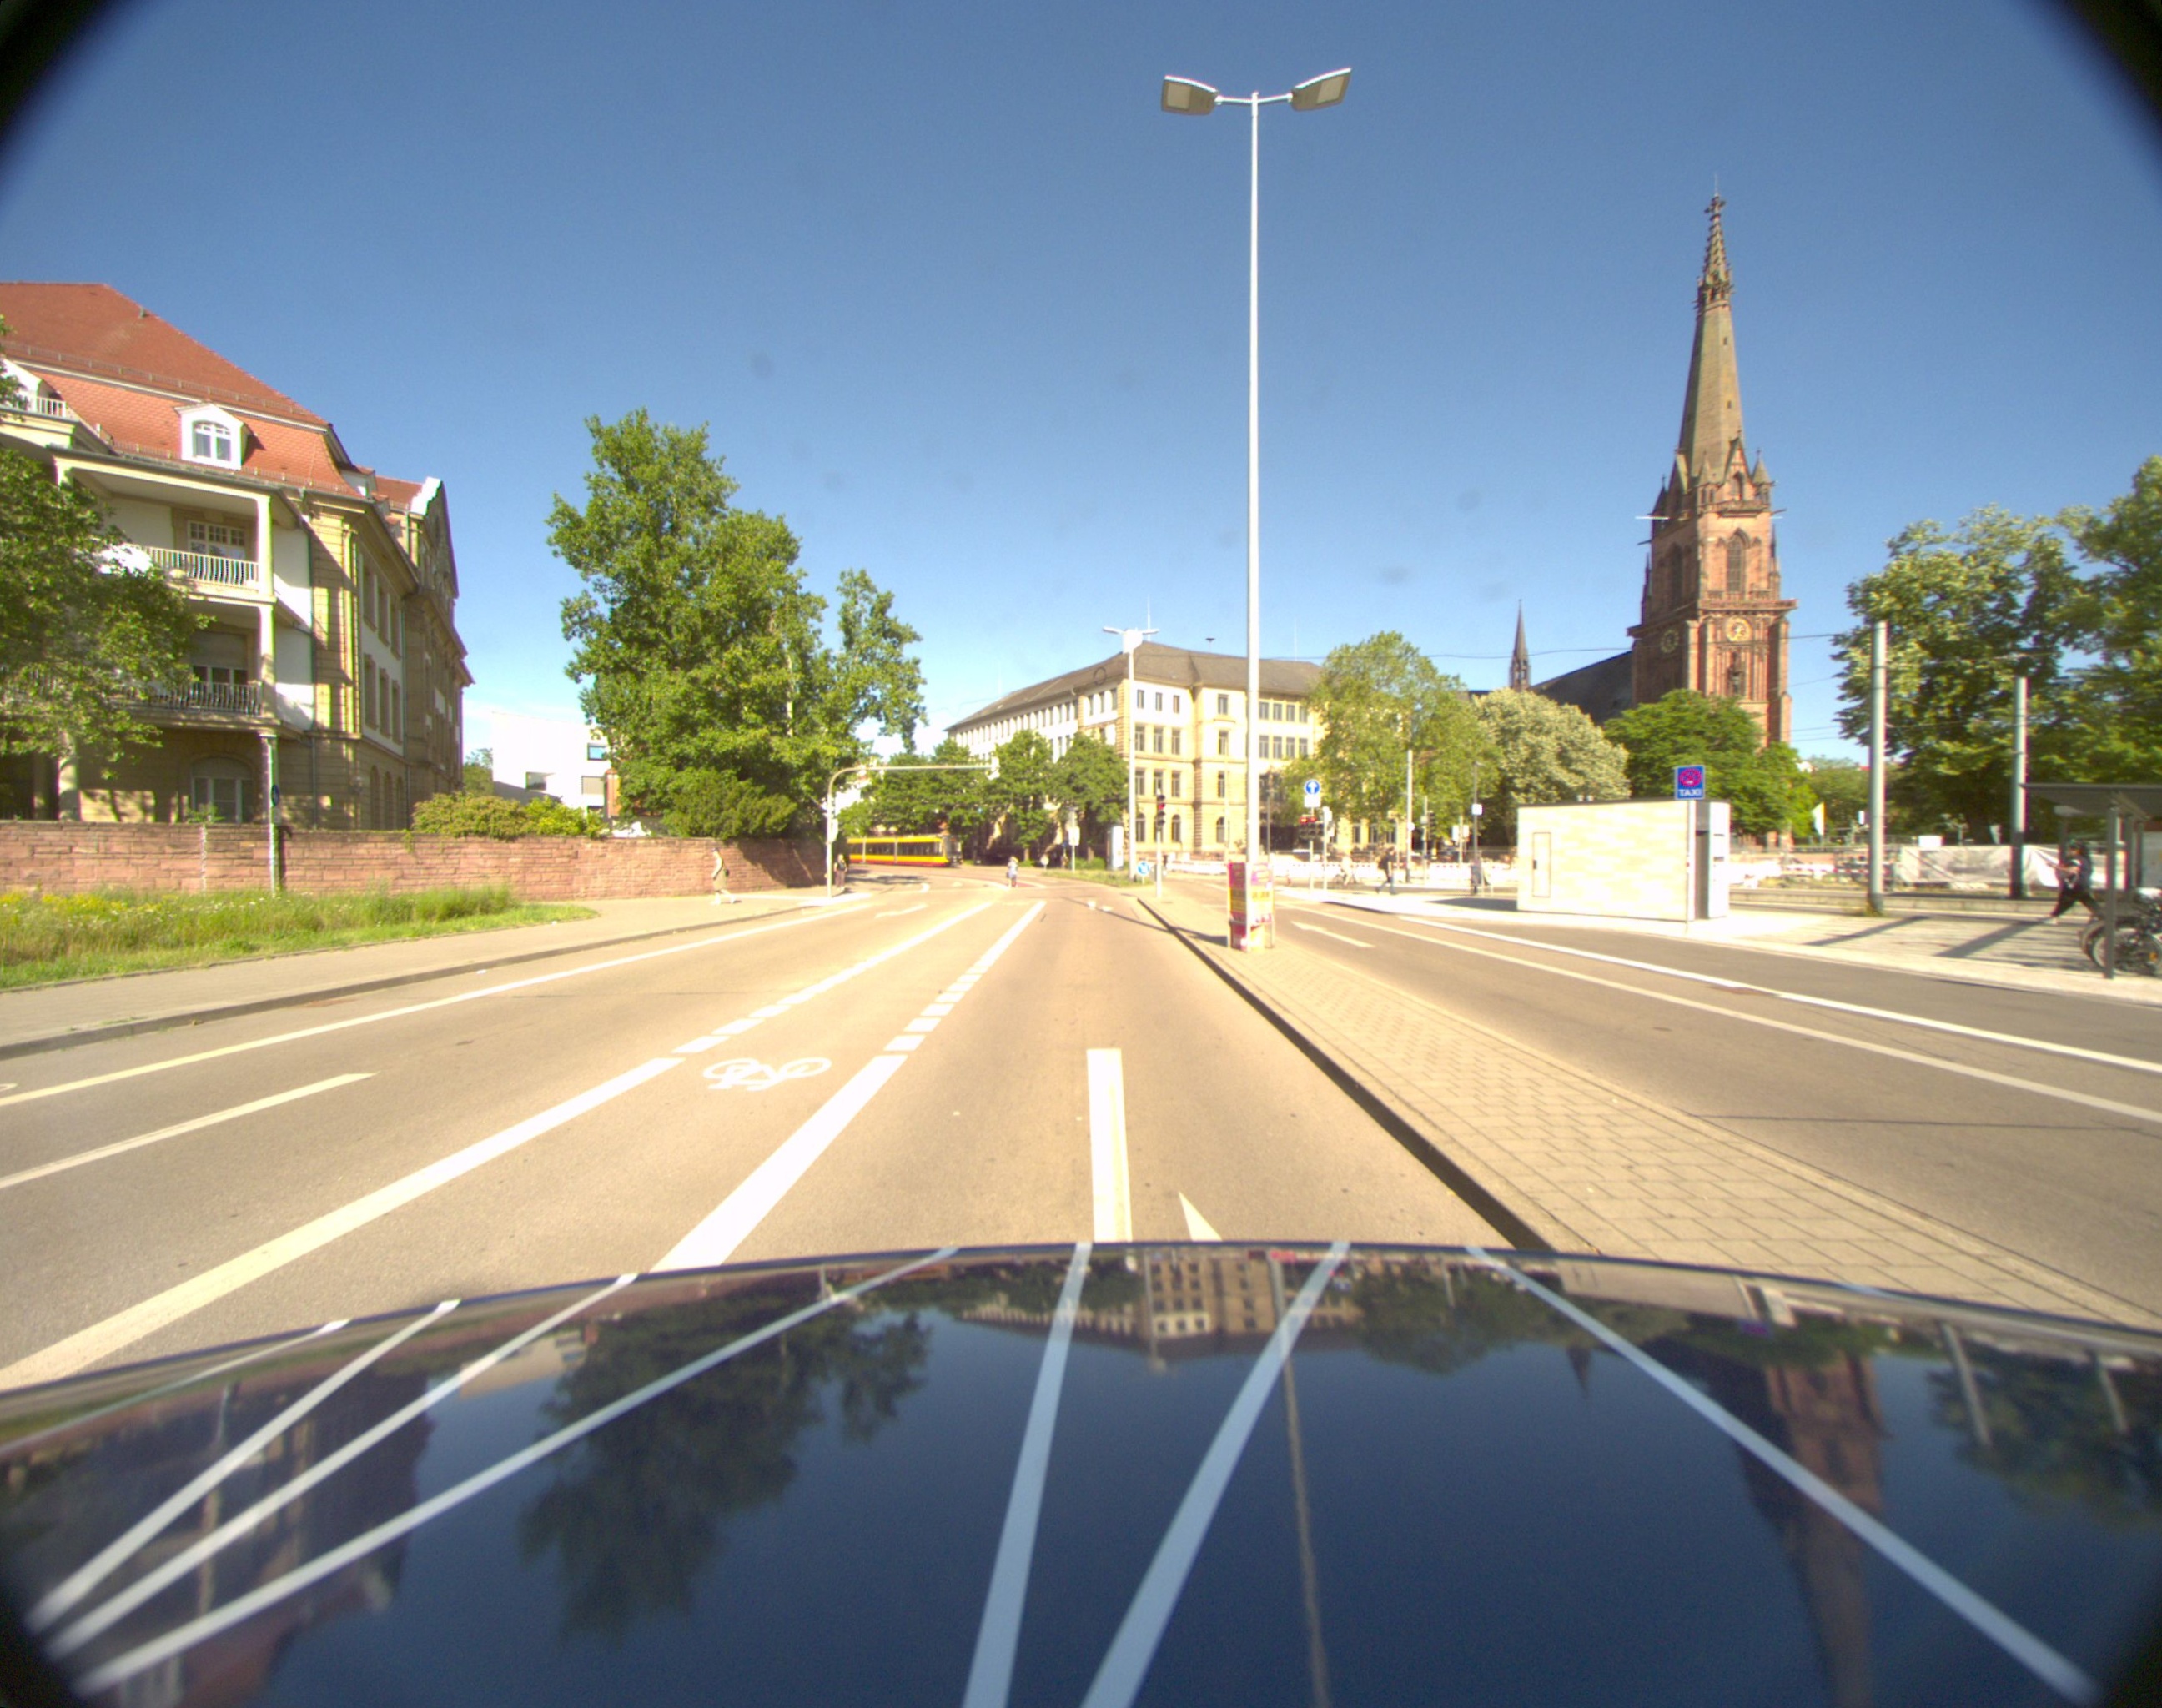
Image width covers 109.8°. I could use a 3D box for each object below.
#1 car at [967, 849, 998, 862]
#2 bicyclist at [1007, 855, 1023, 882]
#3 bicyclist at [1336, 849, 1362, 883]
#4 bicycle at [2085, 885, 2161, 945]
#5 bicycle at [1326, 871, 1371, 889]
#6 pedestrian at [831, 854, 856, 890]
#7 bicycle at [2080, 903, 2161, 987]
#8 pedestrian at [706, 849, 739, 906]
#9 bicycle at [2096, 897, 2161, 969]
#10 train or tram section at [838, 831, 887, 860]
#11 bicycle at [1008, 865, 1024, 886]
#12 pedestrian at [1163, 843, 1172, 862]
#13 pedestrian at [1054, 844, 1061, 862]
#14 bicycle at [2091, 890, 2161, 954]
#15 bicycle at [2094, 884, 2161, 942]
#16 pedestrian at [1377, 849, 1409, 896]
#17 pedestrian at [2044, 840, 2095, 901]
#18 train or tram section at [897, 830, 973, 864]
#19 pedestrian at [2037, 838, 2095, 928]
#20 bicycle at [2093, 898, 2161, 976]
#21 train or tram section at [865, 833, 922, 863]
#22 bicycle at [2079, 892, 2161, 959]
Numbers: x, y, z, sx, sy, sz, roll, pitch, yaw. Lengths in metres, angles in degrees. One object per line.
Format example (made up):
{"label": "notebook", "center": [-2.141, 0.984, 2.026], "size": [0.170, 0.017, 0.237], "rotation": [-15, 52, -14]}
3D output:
{"label": "car", "center": [-11.775, 0.142, 90.636], "size": [1.839, 1.587, 3.989], "rotation": [-1, 1, -37]}
{"label": "bicyclist", "center": [-3.439, 0.769, 39.665], "size": [0.741, 1.363, 0.626], "rotation": [-2, 1, -6]}
{"label": "bicyclist", "center": [12.559, 0.567, 35.670], "size": [0.887, 1.562, 0.740], "rotation": [-1, 1, -24]}
{"label": "bicycle", "center": [19.028, 1.087, 13.328], "size": [0.407, 0.993, 1.679], "rotation": [-3, 2, -33]}
{"label": "bicycle", "center": [12.546, 1.208, 35.683], "size": [2.055, 0.777, 0.739], "rotation": [0, 1, -25]}
{"label": "pedestrian", "center": [-11.188, 0.824, 35.741], "size": [0.931, 1.657, 0.631], "rotation": [0, 1, 6]}
{"label": "bicycle", "center": [13.984, 1.192, 9.542], "size": [0.407, 0.993, 1.678], "rotation": [-3, 3, -33]}
{"label": "pedestrian", "center": [-11.878, 0.770, 25.180], "size": [0.787, 1.847, 0.630], "rotation": [0, 1, -4]}
{"label": "bicycle", "center": [16.128, 1.186, 10.990], "size": [0.407, 0.993, 1.678], "rotation": [-3, 3, -33]}
{"label": "train or tram section", "center": [-29.895, -1.137, 103.406], "size": [2.947, 3.662, 11.646], "rotation": [-1, 1, -34]}
{"label": "bicycle", "center": [-3.421, 1.123, 39.684], "size": [0.741, 0.989, 2.305], "rotation": [-2, 1, -6]}
{"label": "pedestrian", "center": [7.649, -0.117, 67.006], "size": [0.540, 1.710, 0.545], "rotation": [-1, 1, -37]}
{"label": "pedestrian", "center": [-2.620, -0.150, 84.755], "size": [0.557, 2.002, 0.645], "rotation": [-1, 1, -37]}
{"label": "bicycle", "center": [17.964, 1.141, 12.450], "size": [0.407, 0.993, 1.679], "rotation": [-3, 2, -33]}
{"label": "bicycle", "center": [19.513, 1.068, 13.570], "size": [0.407, 0.993, 1.679], "rotation": [-3, 2, -33]}
{"label": "pedestrian", "center": [11.638, 0.664, 28.373], "size": [1.001, 1.733, 0.631], "rotation": [0, 1, 8]}
{"label": "pedestrian", "center": [30.630, 0.502, 23.552], "size": [0.619, 1.849, 0.703], "rotation": [0, 1, 11]}
{"label": "train or tram section", "center": [-16.240, -0.747, 83.254], "size": [2.946, 3.500, 13.803], "rotation": [-1, 1, -34]}
{"label": "pedestrian", "center": [20.879, 0.592, 16.119], "size": [0.622, 1.849, 0.700], "rotation": [-1, 1, -42]}
{"label": "bicycle", "center": [15.029, 1.169, 10.199], "size": [0.407, 0.993, 1.678], "rotation": [-3, 3, -33]}
{"label": "train or tram section", "center": [-23.339, -0.735, 93.805], "size": [2.947, 3.500, 11.646], "rotation": [-1, 1, -34]}
{"label": "bicycle", "center": [17.184, 1.145, 12.003], "size": [0.407, 0.993, 1.679], "rotation": [-3, 2, -33]}
